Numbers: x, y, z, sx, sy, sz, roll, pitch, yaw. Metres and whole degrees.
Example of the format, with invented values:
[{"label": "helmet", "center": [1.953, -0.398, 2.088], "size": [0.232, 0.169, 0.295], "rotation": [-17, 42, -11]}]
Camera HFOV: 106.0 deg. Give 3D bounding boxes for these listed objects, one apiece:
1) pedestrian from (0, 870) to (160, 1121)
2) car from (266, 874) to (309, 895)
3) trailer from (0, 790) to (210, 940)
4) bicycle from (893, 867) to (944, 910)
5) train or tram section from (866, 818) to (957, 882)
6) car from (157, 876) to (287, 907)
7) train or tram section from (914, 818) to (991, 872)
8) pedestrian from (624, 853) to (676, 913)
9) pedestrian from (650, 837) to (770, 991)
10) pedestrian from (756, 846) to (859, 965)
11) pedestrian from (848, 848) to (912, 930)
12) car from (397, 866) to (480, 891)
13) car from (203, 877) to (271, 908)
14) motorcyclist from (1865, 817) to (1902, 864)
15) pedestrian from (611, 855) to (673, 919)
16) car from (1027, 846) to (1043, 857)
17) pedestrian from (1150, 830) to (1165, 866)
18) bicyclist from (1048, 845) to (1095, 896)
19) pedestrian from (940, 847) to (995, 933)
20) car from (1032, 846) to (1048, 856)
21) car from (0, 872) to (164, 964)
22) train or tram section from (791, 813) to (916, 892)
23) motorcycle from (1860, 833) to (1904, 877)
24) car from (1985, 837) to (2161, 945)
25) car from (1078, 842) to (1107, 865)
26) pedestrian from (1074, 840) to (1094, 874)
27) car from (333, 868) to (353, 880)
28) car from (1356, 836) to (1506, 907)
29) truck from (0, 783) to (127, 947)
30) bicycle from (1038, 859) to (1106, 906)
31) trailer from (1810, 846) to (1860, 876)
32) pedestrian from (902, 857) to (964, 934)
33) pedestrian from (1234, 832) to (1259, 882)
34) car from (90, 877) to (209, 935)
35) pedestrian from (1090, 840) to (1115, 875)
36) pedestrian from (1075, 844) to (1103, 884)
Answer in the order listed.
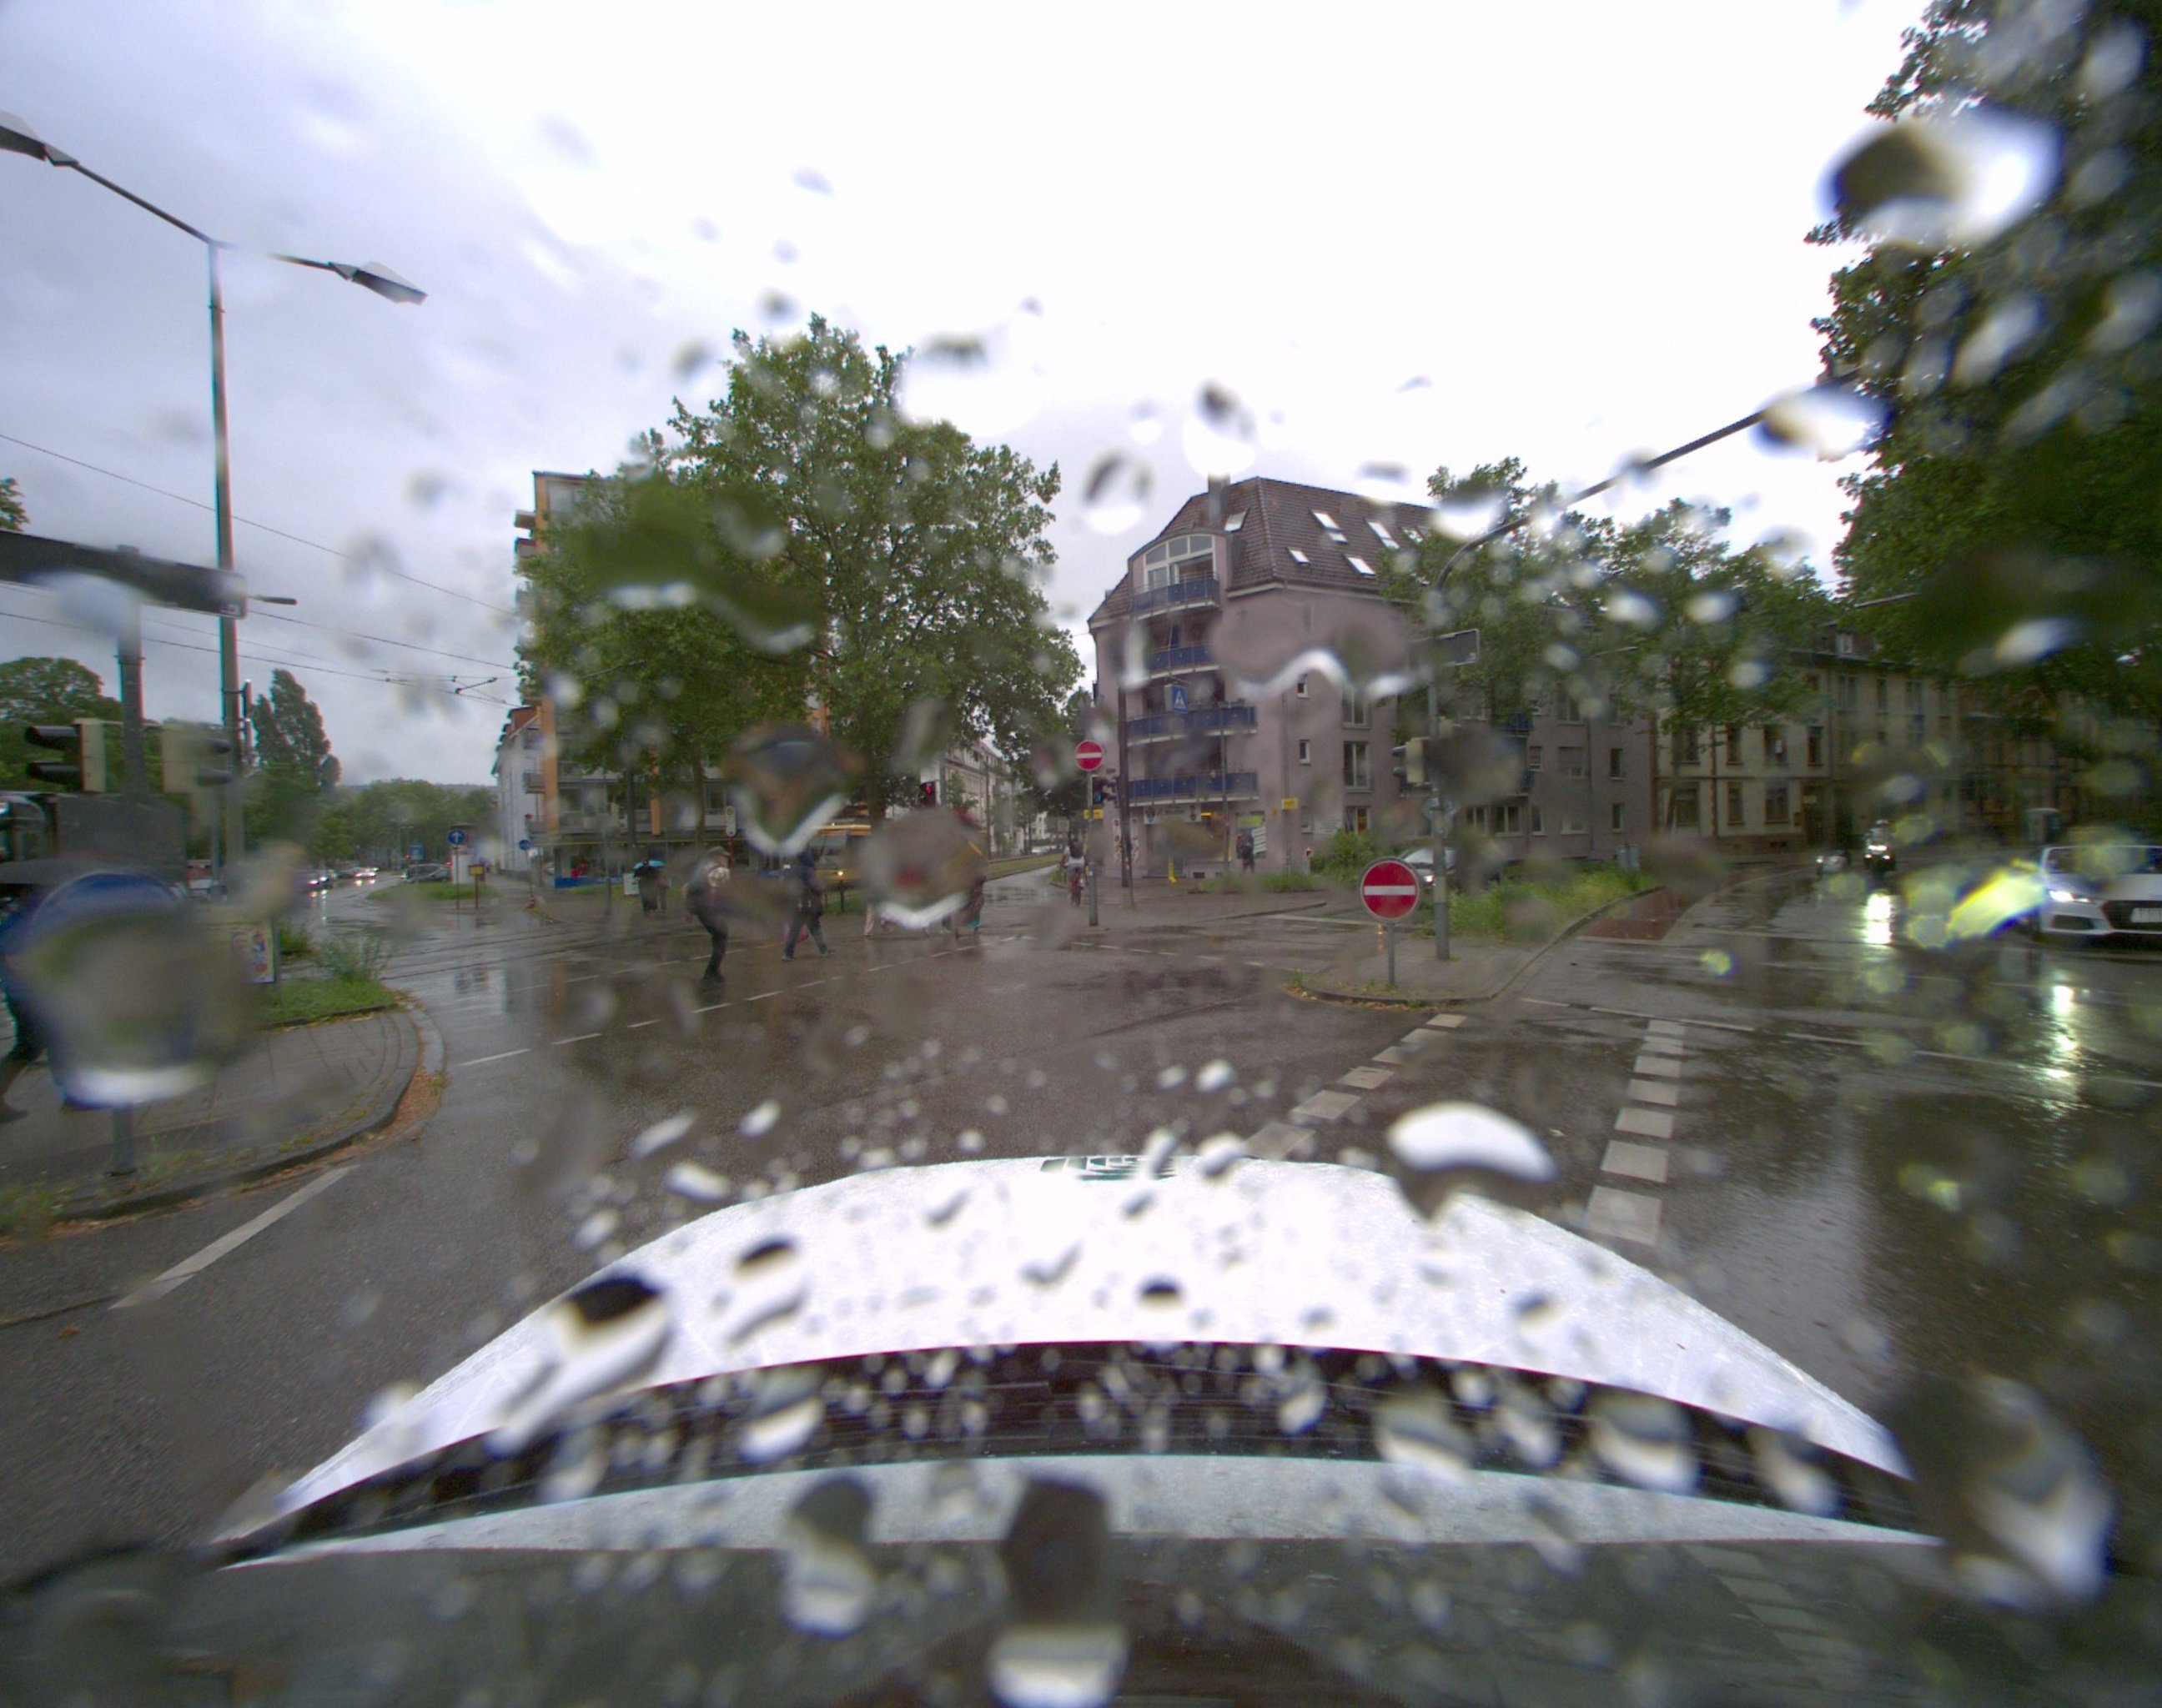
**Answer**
[{"label": "pedestrian", "center": [-7.118, 0.927, 5.631], "size": [0.634, 1.581, 0.869], "rotation": [-1, 2, 35]}, {"label": "car", "center": [-57.190, 2.176, 58.779], "size": [1.789, 1.403, 4.774], "rotation": [-1, 0, -39]}, {"label": "trailer", "center": [-34.094, 0.340, 27.783], "size": [3.470, 4.048, 14.880], "rotation": [-3, 1, -38]}, {"label": "bicycle", "center": [-4.528, 0.949, 22.807], "size": [0.440, 1.077, 1.629], "rotation": [-1, 1, 27]}, {"label": "train or tram section", "center": [-9.696, -0.244, 47.591], "size": [2.624, 3.351, 8.392], "rotation": [-1, 1, 6]}, {"label": "car", "center": [-49.430, 2.151, 46.966], "size": [4.906, 1.453, 2.082], "rotation": [-2, 1, -6]}, {"label": "train or tram section", "center": [-8.721, -0.627, 56.717], "size": [2.624, 3.351, 10.005], "rotation": [-1, 1, 6]}, {"label": "pedestrian", "center": [-13.897, 0.907, 26.257], "size": [1.180, 1.865, 1.369], "rotation": [-2, 1, -40]}, {"label": "pedestrian", "center": [-4.552, 0.703, 10.051], "size": [0.803, 1.781, 0.999], "rotation": [-2, 1, 18]}, {"label": "pedestrian", "center": [-4.203, 0.751, 12.553], "size": [0.983, 1.686, 1.063], "rotation": [-1, 2, 35]}, {"label": "pedestrian", "center": [-3.952, 0.676, 16.110], "size": [0.872, 1.525, 1.066], "rotation": [-2, 1, 4]}, {"label": "car", "center": [-45.863, 1.727, 58.232], "size": [4.570, 1.470, 1.961], "rotation": [-3, 1, -38]}, {"label": "car", "center": [-44.878, 1.994, 43.408], "size": [1.740, 1.361, 4.289], "rotation": [-3, 2, -36]}, {"label": "motorcyclist", "center": [23.893, -0.404, 24.243], "size": [0.759, 1.351, 0.748], "rotation": [-2, 1, -45]}, {"label": "pedestrian", "center": [-12.884, 0.951, 23.911], "size": [1.221, 1.788, 1.044], "rotation": [-1, 1, 28]}, {"label": "car", "center": [-6.663, -0.404, 117.843], "size": [1.986, 1.533, 4.002], "rotation": [-1, 1, 2]}, {"label": "pedestrian", "center": [3.516, -0.281, 37.417], "size": [0.467, 1.602, 0.597], "rotation": [-1, 0, 31]}, {"label": "bicyclist", "center": [-0.271, 0.430, 21.974], "size": [0.746, 1.309, 1.065], "rotation": [-3, 2, -36]}, {"label": "pedestrian", "center": [-2.134, 0.666, 15.357], "size": [0.684, 1.547, 0.765], "rotation": [-2, 1, 19]}, {"label": "car", "center": [-6.236, -0.460, 123.630], "size": [1.986, 1.397, 4.002], "rotation": [-1, 1, 2]}, {"label": "car", "center": [-22.736, 1.329, 18.525], "size": [2.092, 1.682, 4.869], "rotation": [1, 0, -44]}, {"label": "train or tram section", "center": [-10.672, -0.110, 39.276], "size": [2.623, 3.369, 8.394], "rotation": [-1, 1, 7]}, {"label": "motorcycle", "center": [23.839, 0.011, 24.228], "size": [2.087, 1.214, 0.870], "rotation": [-2, 1, -44]}, {"label": "car", "center": [14.603, 0.432, 11.548], "size": [1.879, 1.275, 4.198], "rotation": [-1, 1, 41]}, {"label": "car", "center": [0.965, -0.086, 65.649], "size": [1.984, 1.673, 4.006], "rotation": [-2, 1, 5]}, {"label": "pedestrian", "center": [0.161, 0.149, 42.625], "size": [0.948, 1.697, 0.922], "rotation": [-2, 1, 4]}, {"label": "car", "center": [-102.618, 2.786, 113.208], "size": [1.792, 1.530, 3.951], "rotation": [-1, 2, -45]}, {"label": "car", "center": [8.422, 0.345, 19.435], "size": [1.969, 1.461, 4.203], "rotation": [-1, 1, 43]}, {"label": "truck", "center": [-29.877, 0.320, 22.295], "size": [3.478, 4.078, 6.895], "rotation": [-2, 1, -38]}, {"label": "bicycle", "center": [-0.259, 0.740, 21.943], "size": [0.756, 1.173, 2.019], "rotation": [-3, 2, -36]}, {"label": "trailer", "center": [23.089, 0.202, 24.919], "size": [1.491, 0.842, 1.014], "rotation": [-2, 1, -43]}, {"label": "pedestrian", "center": [-2.822, 0.771, 15.624], "size": [0.665, 1.381, 1.016], "rotation": [-2, 1, 22]}, {"label": "pedestrian", "center": [6.133, 0.119, 30.163], "size": [0.634, 1.803, 0.626], "rotation": [-1, 2, 40]}, {"label": "car", "center": [-26.906, 1.441, 23.651], "size": [1.713, 1.373, 4.051], "rotation": [-2, 1, -41]}, {"label": "pedestrian", "center": [1.121, 0.180, 42.717], "size": [1.161, 1.788, 0.893], "rotation": [-2, 1, -4]}, {"label": "pedestrian", "center": [0.314, 0.407, 32.683], "size": [0.986, 1.559, 0.785], "rotation": [-2, 1, 5]}]
